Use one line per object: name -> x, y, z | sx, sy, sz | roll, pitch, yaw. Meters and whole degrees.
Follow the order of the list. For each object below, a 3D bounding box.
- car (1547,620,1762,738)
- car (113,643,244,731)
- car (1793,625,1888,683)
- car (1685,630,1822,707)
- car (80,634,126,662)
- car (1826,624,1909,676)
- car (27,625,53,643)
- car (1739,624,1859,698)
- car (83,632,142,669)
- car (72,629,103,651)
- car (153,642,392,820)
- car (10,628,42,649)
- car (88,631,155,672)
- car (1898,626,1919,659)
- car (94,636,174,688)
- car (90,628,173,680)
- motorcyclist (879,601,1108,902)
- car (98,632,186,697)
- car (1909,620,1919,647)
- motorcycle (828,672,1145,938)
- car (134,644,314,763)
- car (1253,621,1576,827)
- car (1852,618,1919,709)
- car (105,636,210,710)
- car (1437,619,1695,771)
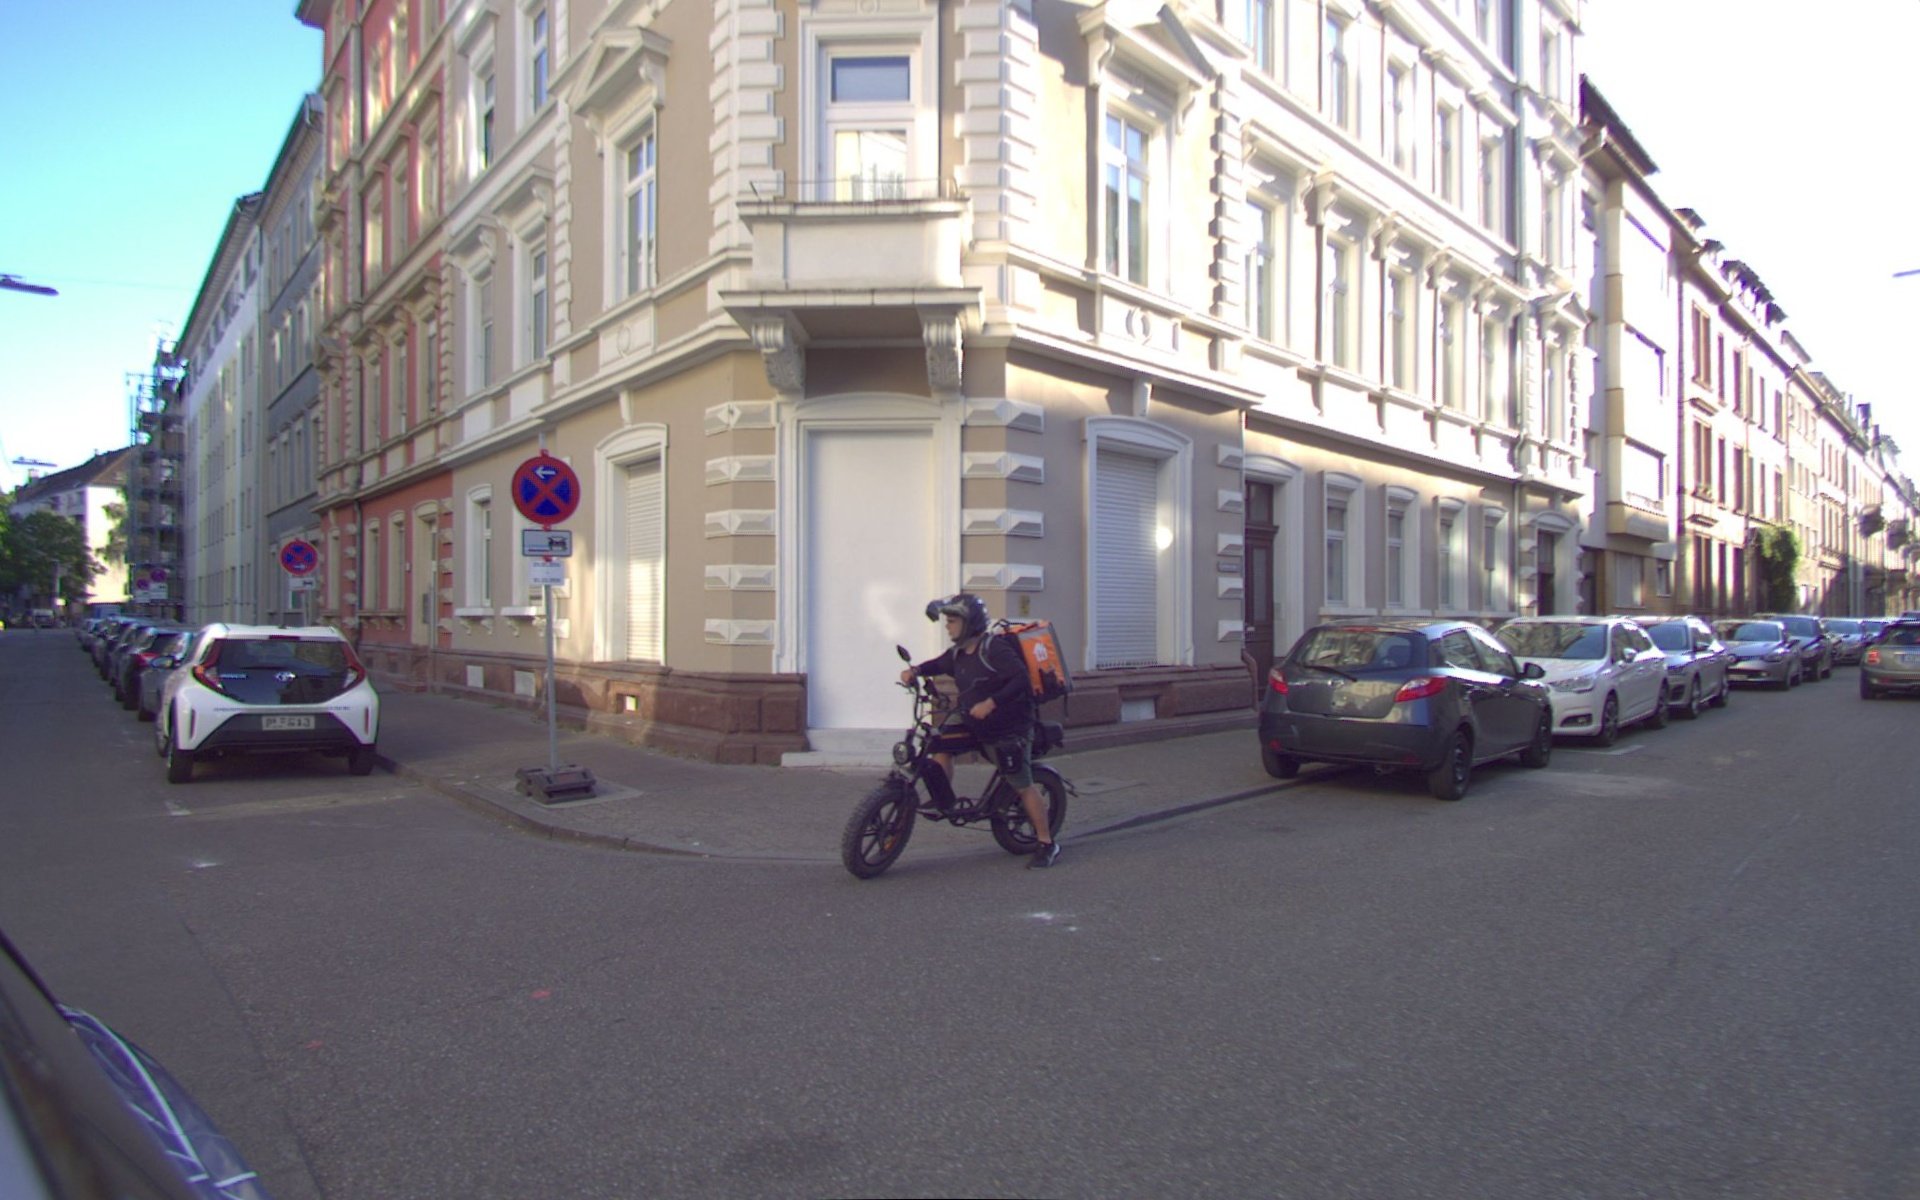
car -> 10.998, 1.126, 15.927 | 4.032, 1.572, 2.011 | 0, -2, -44
car -> -14.473, 1.554, 18.676 | 1.565, 1.426, 3.917 | 6, -5, -41
car -> 26.592, 1.584, 30.529 | 4.033, 1.572, 1.836 | 0, -2, -45
car -> 16.854, 1.385, 21.438 | 3.542, 1.414, 1.836 | 0, -2, -45
car -> -52.133, 2.886, 61.526 | 1.970, 1.597, 4.498 | 0, -1, -43
car -> 30.523, 1.623, 34.002 | 4.033, 1.572, 1.836 | 0, -2, -45
car -> -96.439, 3.532, 106.142 | 1.969, 1.807, 4.005 | 0, -1, -41
car -> 20.438, 1.412, 24.589 | 4.033, 1.572, 1.836 | 0, -2, -45
car -> -38.844, 2.270, 46.329 | 1.969, 1.588, 4.155 | 0, -1, -41
car -> -74.053, 3.369, 85.862 | 1.969, 1.807, 4.005 | 0, -1, -41
car -> -7.531, 1.270, 10.935 | 1.663, 1.507, 3.850 | 5, -5, -40
car -> -80.947, 3.310, 87.748 | 1.969, 1.807, 4.005 | 0, -1, -41
car -> -35.596, 2.134, 42.921 | 1.970, 1.597, 4.498 | 0, -1, -43
car -> 48.390, 2.105, 50.691 | 4.033, 1.572, 1.836 | 0, -2, -45
car -> -25.760, 1.873, 31.519 | 1.638, 1.440, 4.357 | 0, -1, -43
car -> -29.058, 1.836, 35.446 | 1.970, 1.662, 4.498 | 0, -1, -43
motorcyclist -> 0.184, 0.833, 6.070 | 0.982, 1.579, 0.877 | -2, -2, -31
car -> -21.888, 1.660, 27.014 | 1.574, 1.534, 4.435 | 0, -1, -42
car -> 57.464, 1.960, 59.829 | 4.033, 1.572, 1.836 | 0, -2, -45
motorcycle -> 0.169, 1.122, 6.058 | 1.669, 1.259, 0.809 | -2, -2, -31
car -> -10.769, 1.409, 14.703 | 1.590, 1.439, 3.966 | 4, -4, -43
car -> 4.336, 0.965, 9.408 | 1.687, 1.491, 3.539 | -2, -1, 43
car -> 17.640, 1.087, 18.244 | 3.940, 1.497, 2.002 | 0, -2, -44
car -> -18.526, 1.622, 23.289 | 1.515, 1.510, 4.200 | 3, -3, -43
car -> 7.775, 1.051, 12.826 | 4.033, 1.572, 1.836 | 0, -2, -45
